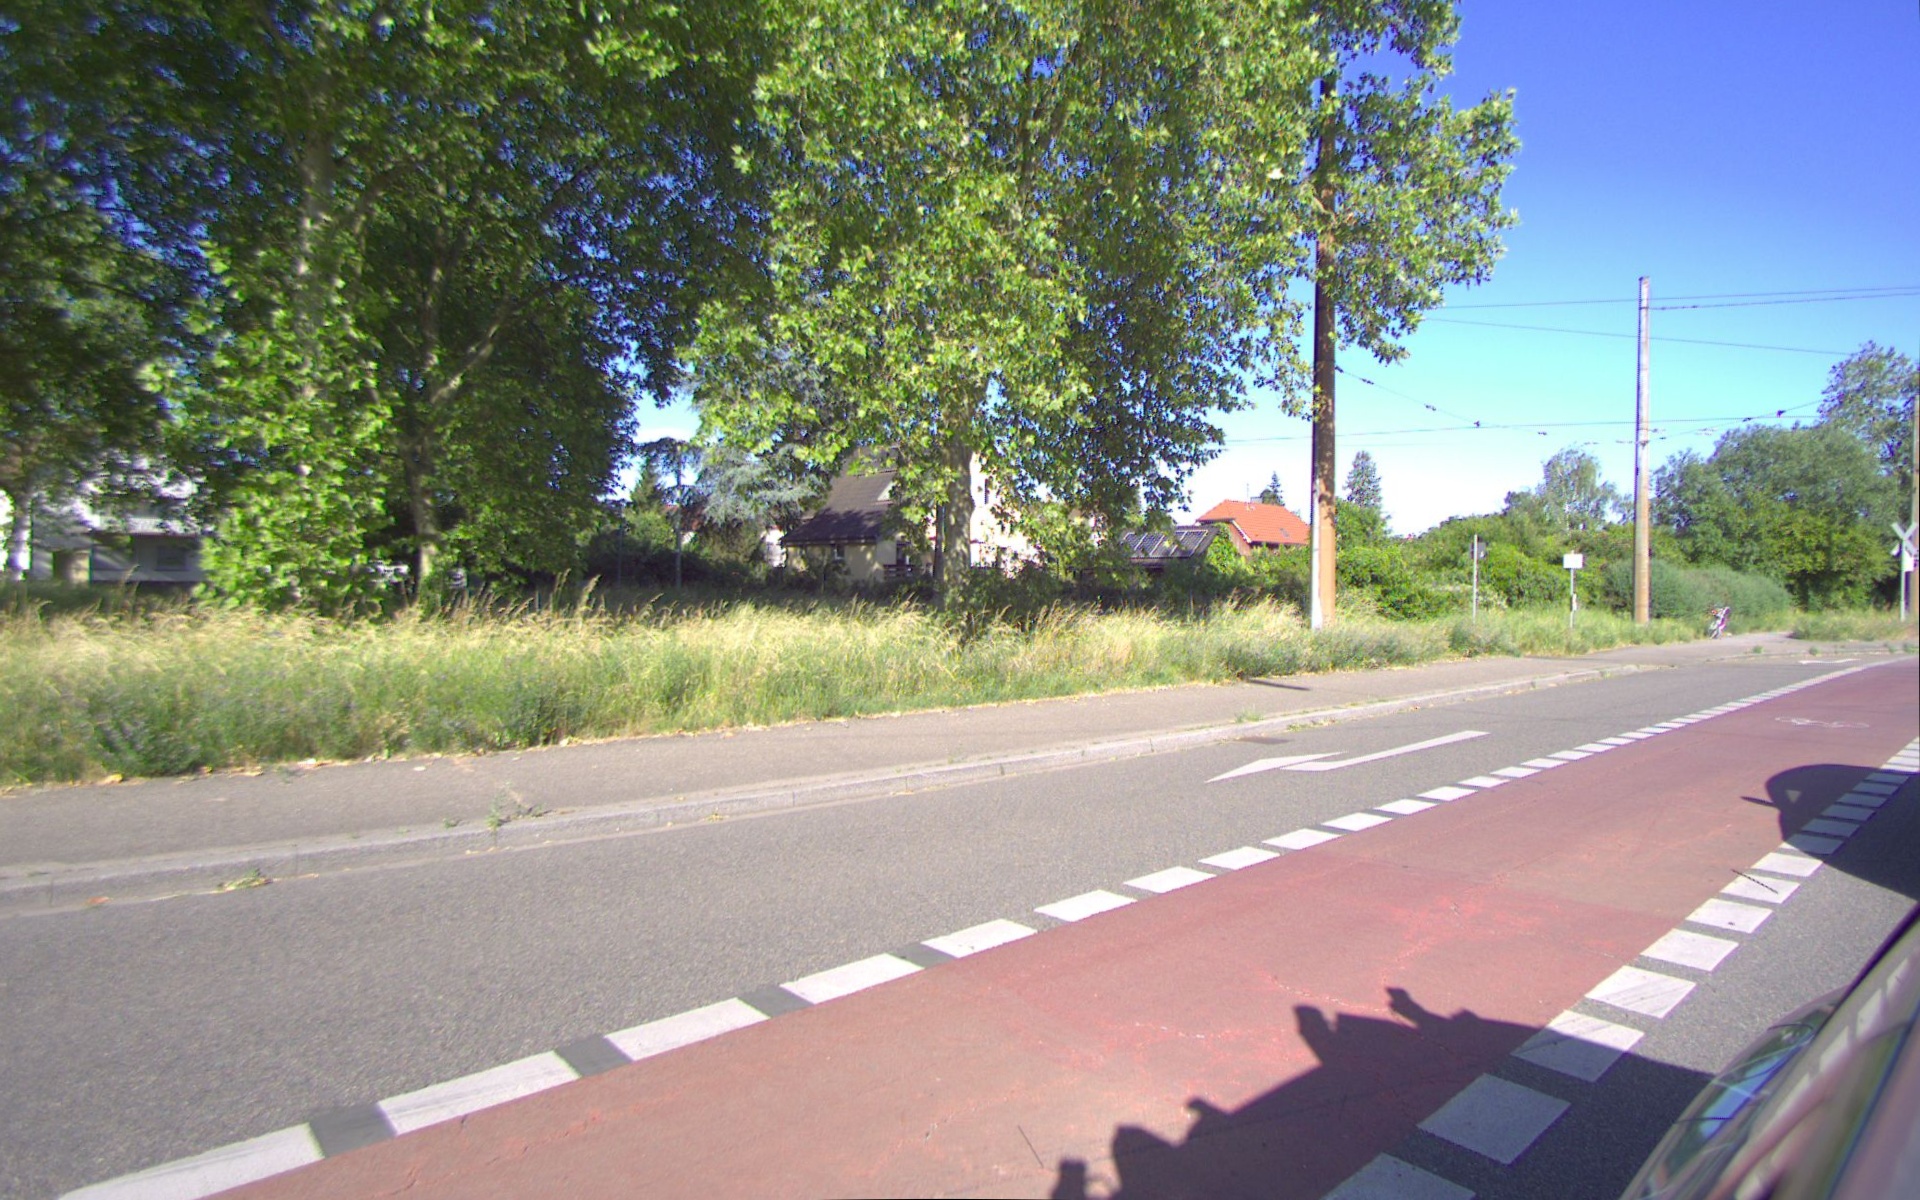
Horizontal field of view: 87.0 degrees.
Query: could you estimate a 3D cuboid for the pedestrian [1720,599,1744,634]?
[{"bbox_3d":[23.773,0.498,31.160,0.446,1.046,0.482,1,1,-41],"label":"pedestrian"}]
